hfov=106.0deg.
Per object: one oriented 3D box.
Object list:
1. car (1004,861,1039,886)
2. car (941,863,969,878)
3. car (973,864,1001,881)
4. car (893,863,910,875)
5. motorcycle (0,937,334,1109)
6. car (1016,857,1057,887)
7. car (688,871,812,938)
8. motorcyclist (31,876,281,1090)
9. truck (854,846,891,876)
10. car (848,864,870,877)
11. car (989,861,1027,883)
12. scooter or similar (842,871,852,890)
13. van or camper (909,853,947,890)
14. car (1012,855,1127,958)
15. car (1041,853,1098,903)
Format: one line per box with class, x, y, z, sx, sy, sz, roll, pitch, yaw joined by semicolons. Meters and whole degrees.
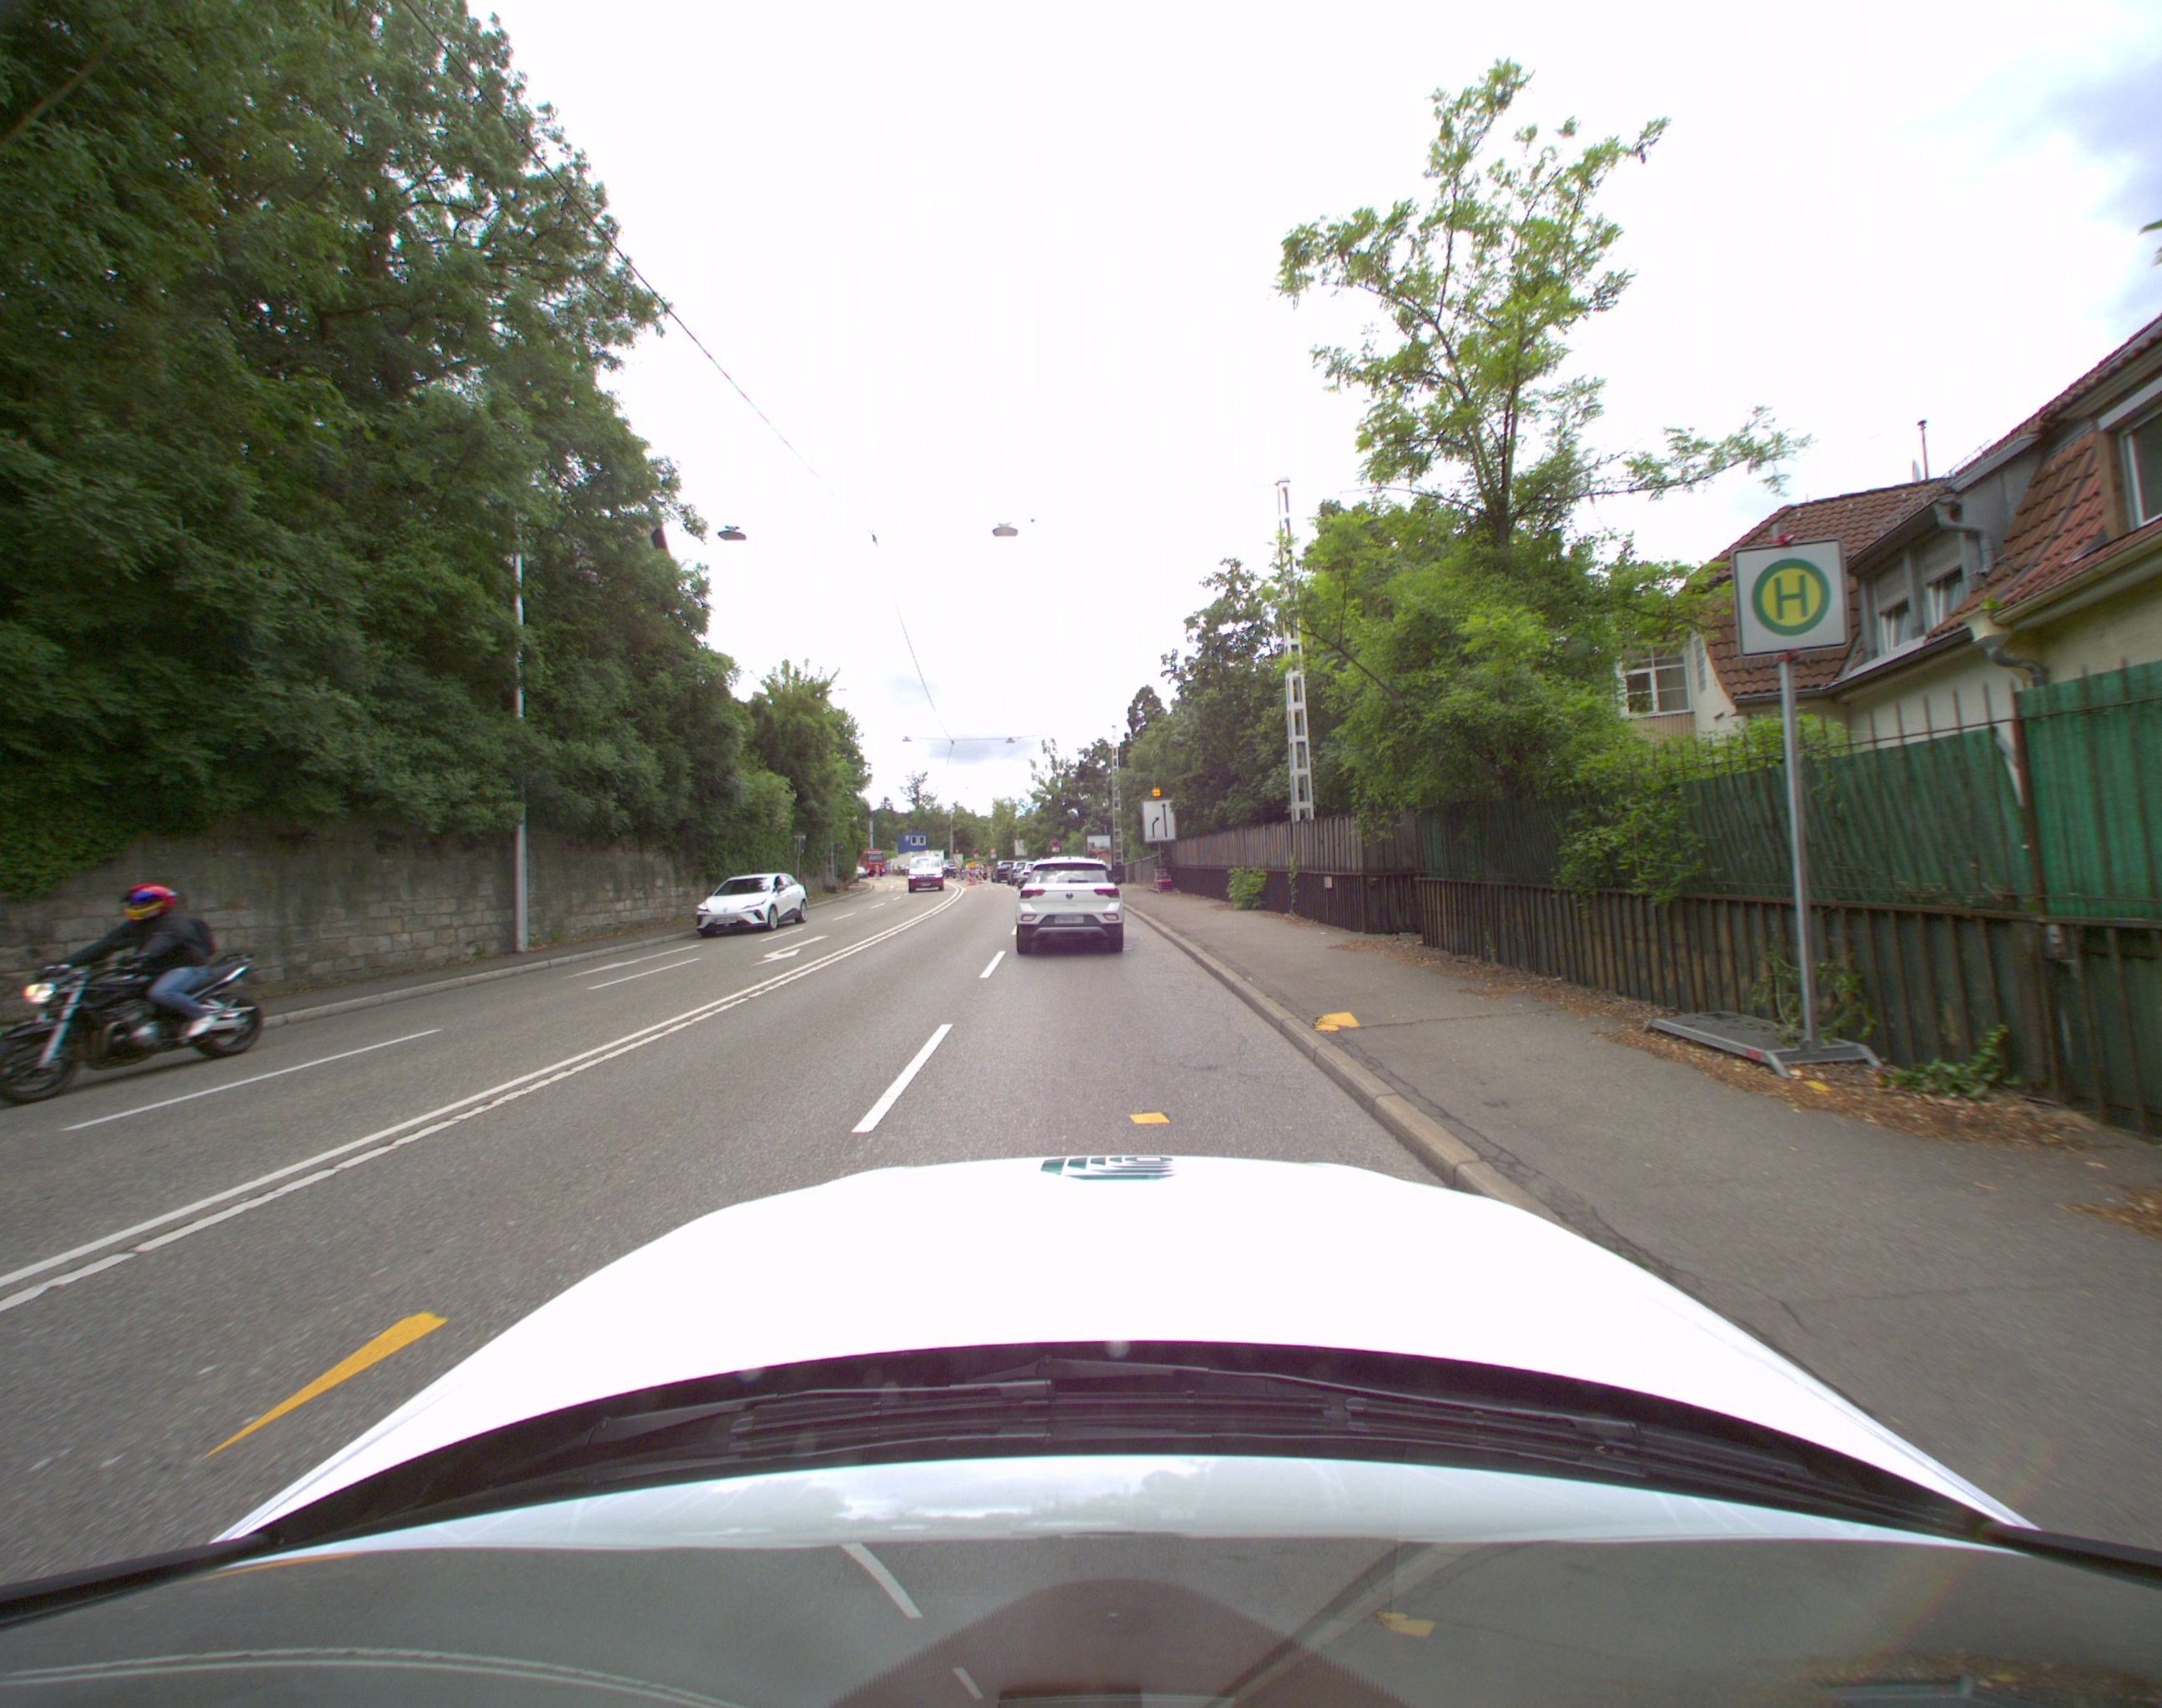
car;-3.785;1.230;52.411;1.989;1.414;4.146;-3;-1;-3
car;-13.221;1.720;85.003;2.001;1.450;4.120;-2;-1;-22
car;-8.784;1.694;75.715;1.997;1.450;4.129;-2;-1;-15
car;-22.864;1.915;103.651;1.785;1.454;3.976;-2;-1;-17
motorcycle;-8.335;1.444;7.521;0.648;1.073;2.308;-4;0;0
car;-2.365;0.916;42.318;1.757;1.471;3.784;-1;-1;-9
car;-8.766;1.269;21.947;1.779;1.466;4.095;-5;0;-4
motorcyclist;-8.383;1.098;7.471;0.646;1.705;1.338;-4;0;0
truck;-27.477;0.967;106.843;2.959;3.698;9.838;-3;0;-24
car;-26.109;1.934;95.617;1.904;1.382;3.969;-3;0;-23
car;-5.578;1.314;62.064;1.999;1.556;4.126;-2;0;-18
scooter or similar;-14.696;1.674;51.230;0.538;1.205;1.273;1;-1;-15
van or camper;-8.584;0.999;46.084;1.889;1.878;4.750;-3;-1;-9
car;-0.213;0.832;14.557;1.753;1.556;3.793;-1;-1;-1
car;-0.475;0.830;29.038;1.755;1.609;3.788;-1;-1;-5
